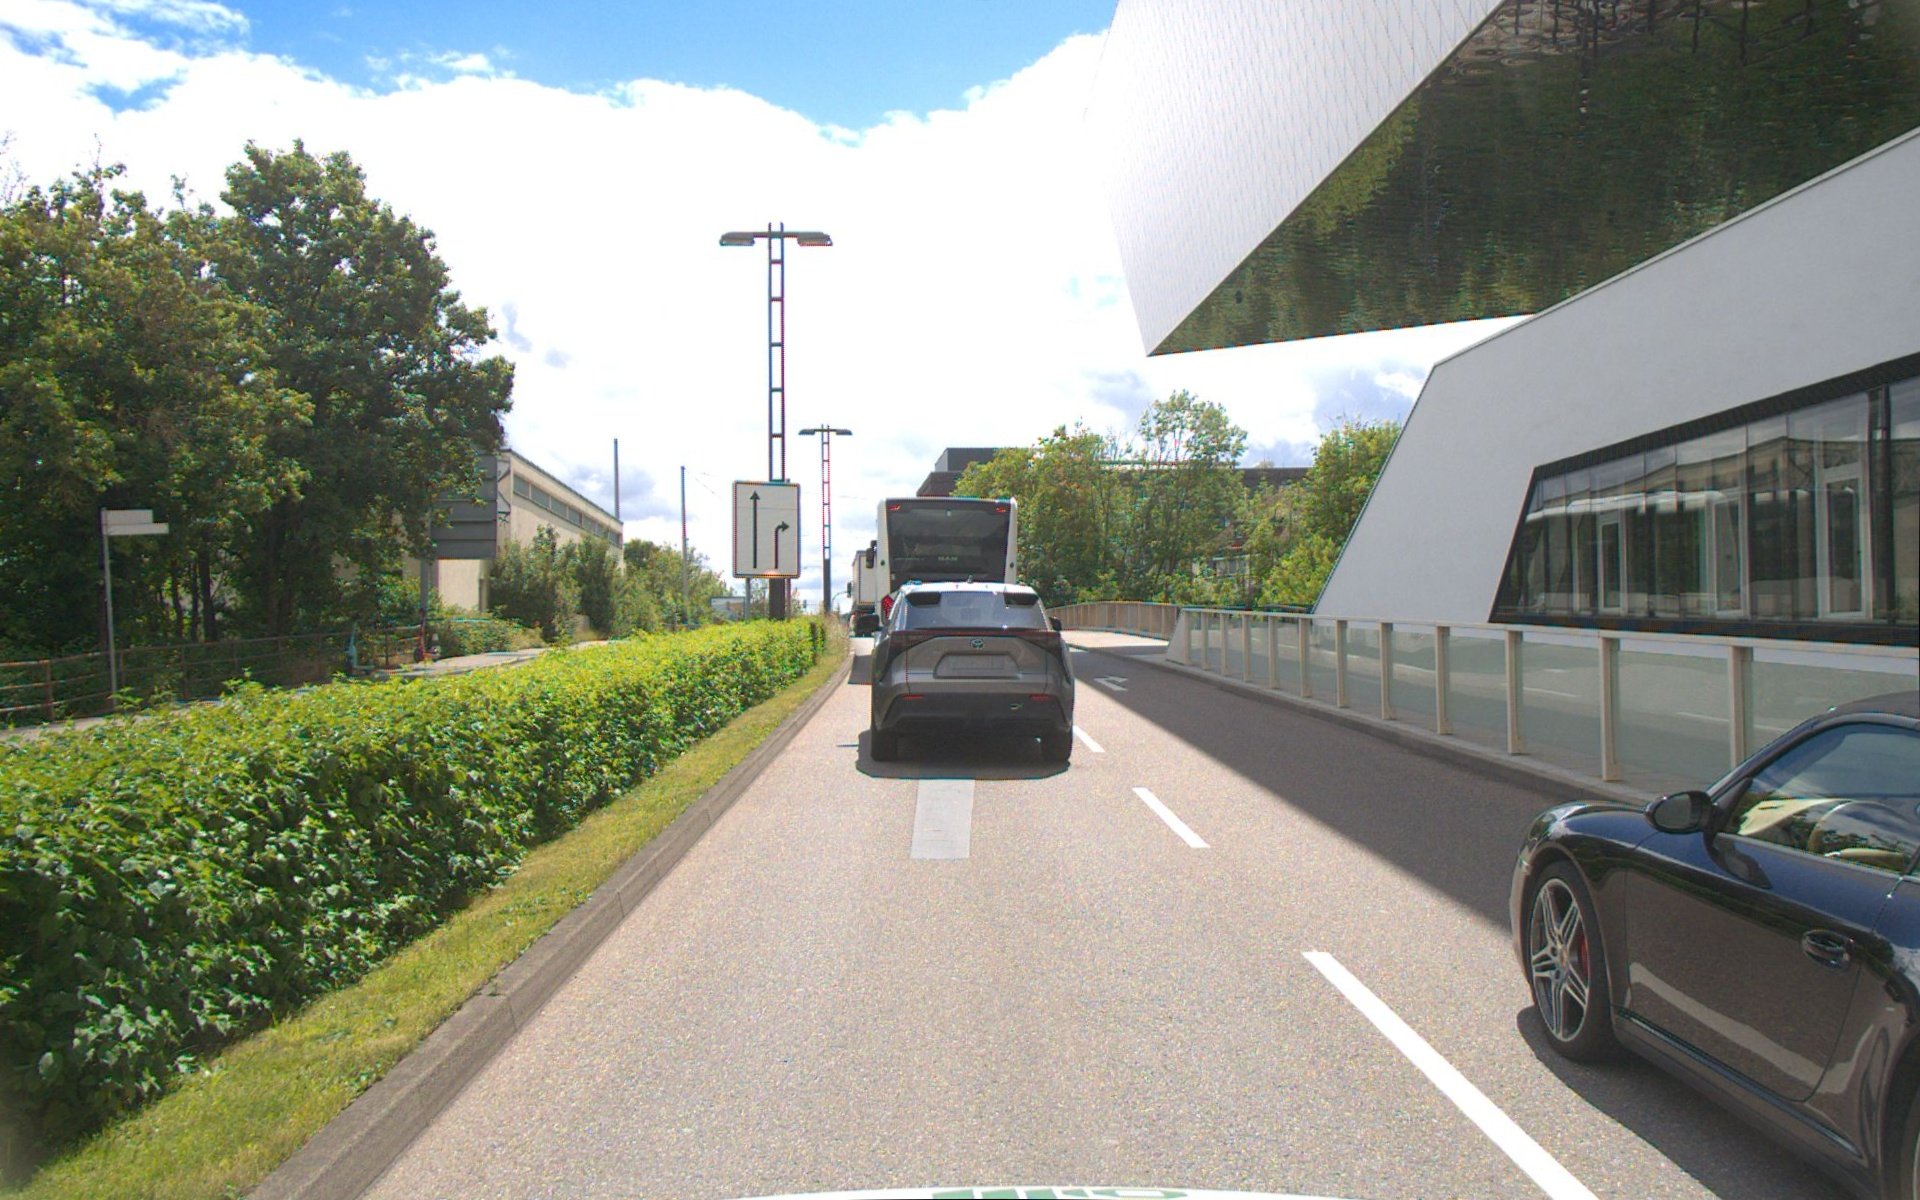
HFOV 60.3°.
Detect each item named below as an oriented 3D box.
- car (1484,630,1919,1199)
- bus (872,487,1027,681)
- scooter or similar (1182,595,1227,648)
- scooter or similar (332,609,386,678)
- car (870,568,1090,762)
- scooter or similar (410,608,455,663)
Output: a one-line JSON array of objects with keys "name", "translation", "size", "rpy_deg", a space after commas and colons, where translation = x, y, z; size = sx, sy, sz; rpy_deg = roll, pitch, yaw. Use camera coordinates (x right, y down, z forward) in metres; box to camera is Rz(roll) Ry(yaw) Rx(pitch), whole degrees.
[{"name": "car", "translation": [2.840, 0.755, 4.165], "size": [1.685, 1.297, 4.087], "rpy_deg": [0, 0, -1]}, {"name": "bus", "translation": [-0.239, -0.361, 34.657], "size": [2.634, 3.312, 12.056], "rpy_deg": [1, 1, -1]}, {"name": "scooter or similar", "translation": [5.940, 0.525, 40.258], "size": [0.640, 1.235, 1.856], "rpy_deg": [-2, 0, -4]}, {"name": "scooter or similar", "translation": [-12.176, 0.864, 33.547], "size": [0.481, 1.327, 1.643], "rpy_deg": [1, 0, 1]}, {"name": "car", "translation": [0.102, 0.561, 16.064], "size": [1.842, 1.622, 4.228], "rpy_deg": [1, 0, -2]}, {"name": "scooter or similar", "translation": [-12.404, 0.828, 38.909], "size": [0.481, 1.237, 1.643], "rpy_deg": [-1, 0, 1]}]
